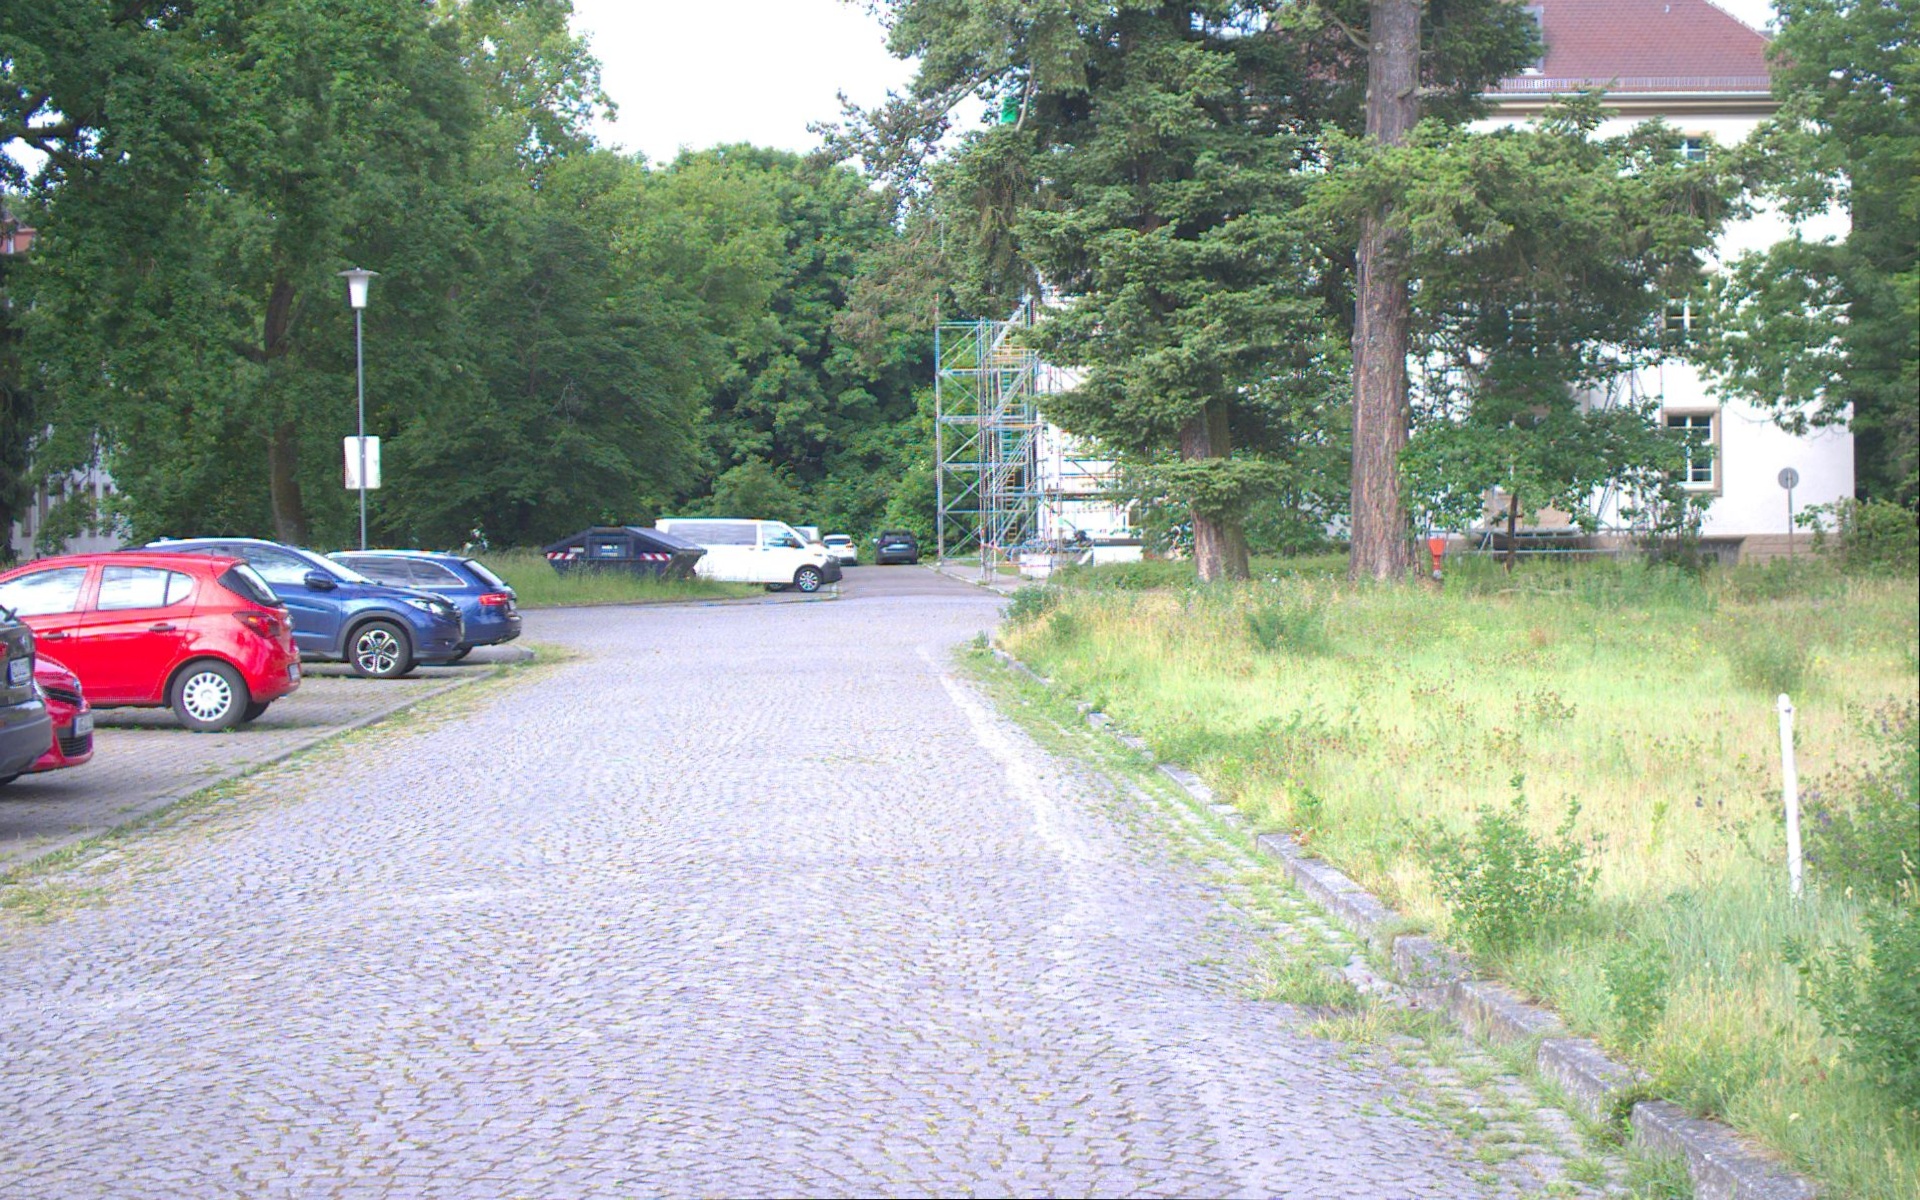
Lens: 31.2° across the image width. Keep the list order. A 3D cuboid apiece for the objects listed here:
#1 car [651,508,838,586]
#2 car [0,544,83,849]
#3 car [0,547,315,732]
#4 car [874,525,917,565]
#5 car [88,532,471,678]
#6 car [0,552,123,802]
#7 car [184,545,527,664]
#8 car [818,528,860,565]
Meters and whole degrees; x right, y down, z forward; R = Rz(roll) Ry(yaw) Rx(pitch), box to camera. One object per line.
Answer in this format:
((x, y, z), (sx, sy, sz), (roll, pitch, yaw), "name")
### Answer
((-5.823, -1.416, 93.052), (4.977, 2.065, 2.052), (0, 0, -3), "car")
((-7.048, 0.499, 18.759), (4.067, 1.570, 1.955), (0, 1, -3), "car")
((-7.510, 0.314, 29.065), (3.815, 1.484, 1.788), (0, 1, -3), "car")
((-3.009, -2.551, 159.528), (1.790, 1.714, 4.061), (-1, 0, -3), "car")
((-7.726, 0.032, 39.311), (4.071, 1.598, 1.788), (0, 1, -3), "car")
((-7.359, 0.462, 21.538), (3.815, 1.481, 1.762), (0, 1, -2), "car")
((-7.697, 0.040, 44.013), (4.071, 1.462, 1.626), (0, 1, 2), "car")
((-5.620, -2.465, 159.131), (1.790, 1.630, 4.061), (-1, 0, -3), "car")
